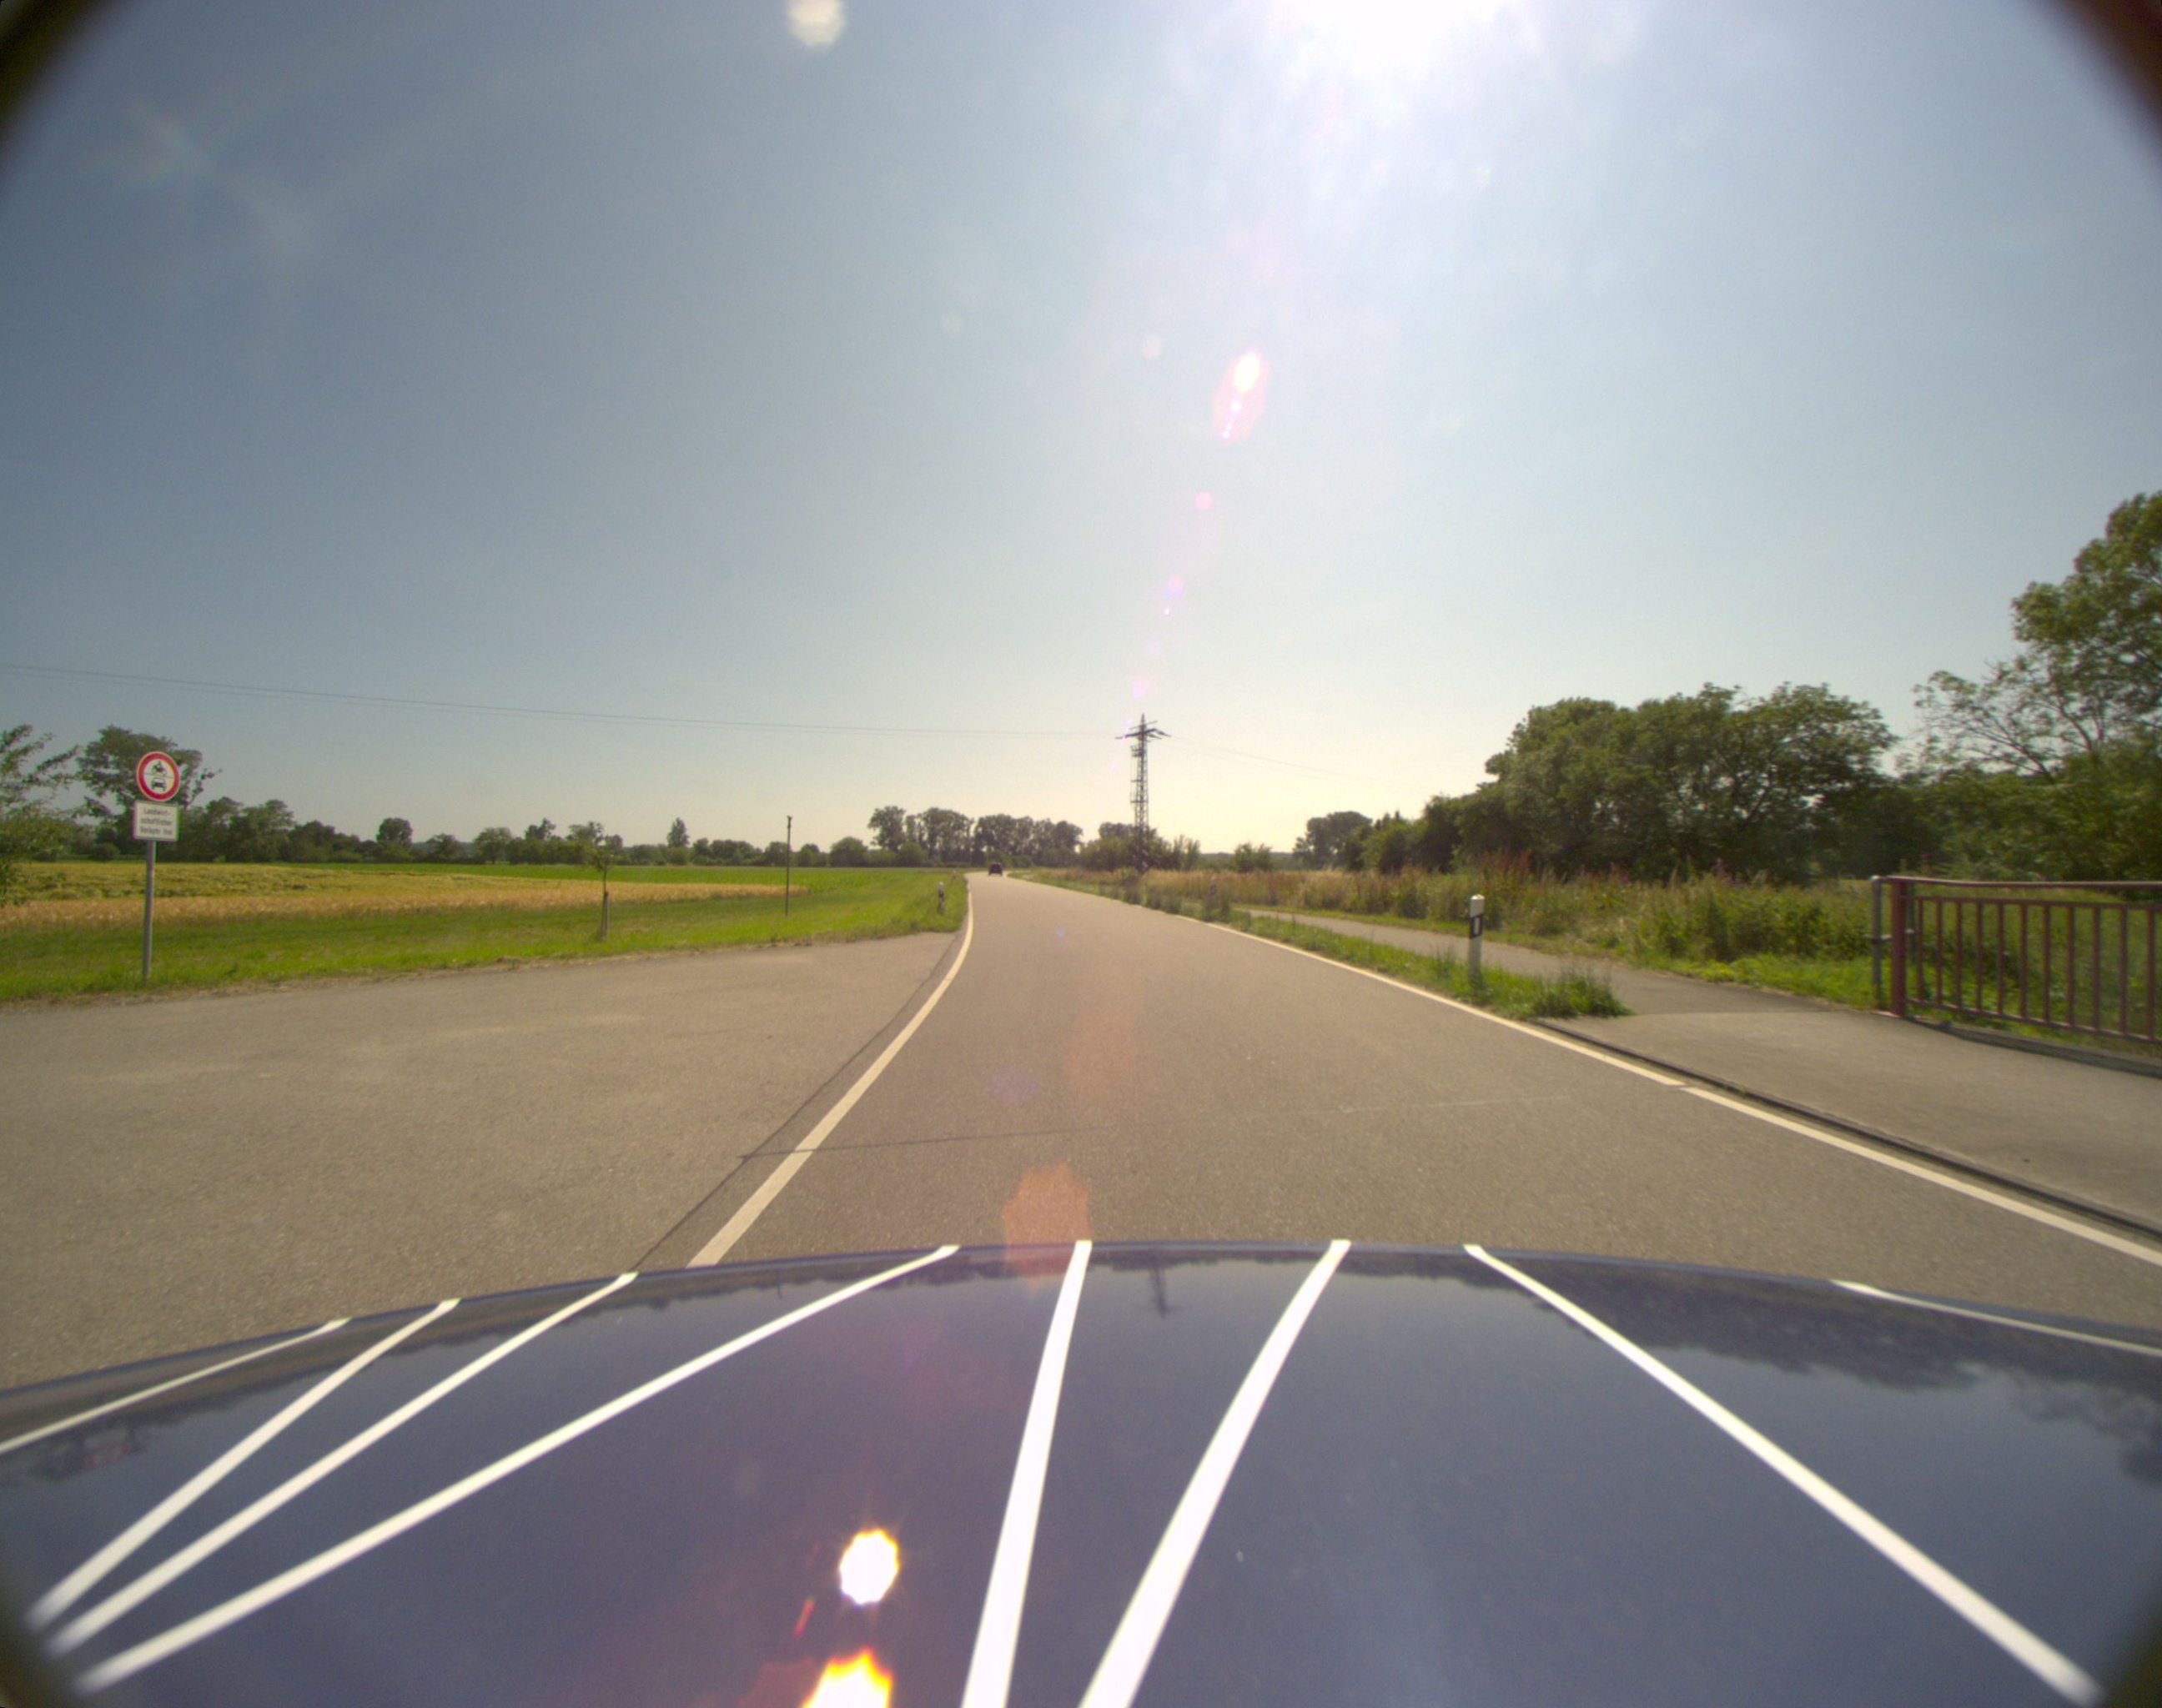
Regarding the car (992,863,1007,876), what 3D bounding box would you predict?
[{"bbox_3d":[-11.143,2.128,103.919,1.871,1.742,4.295,2,-1,-4],"label":"car"}]
